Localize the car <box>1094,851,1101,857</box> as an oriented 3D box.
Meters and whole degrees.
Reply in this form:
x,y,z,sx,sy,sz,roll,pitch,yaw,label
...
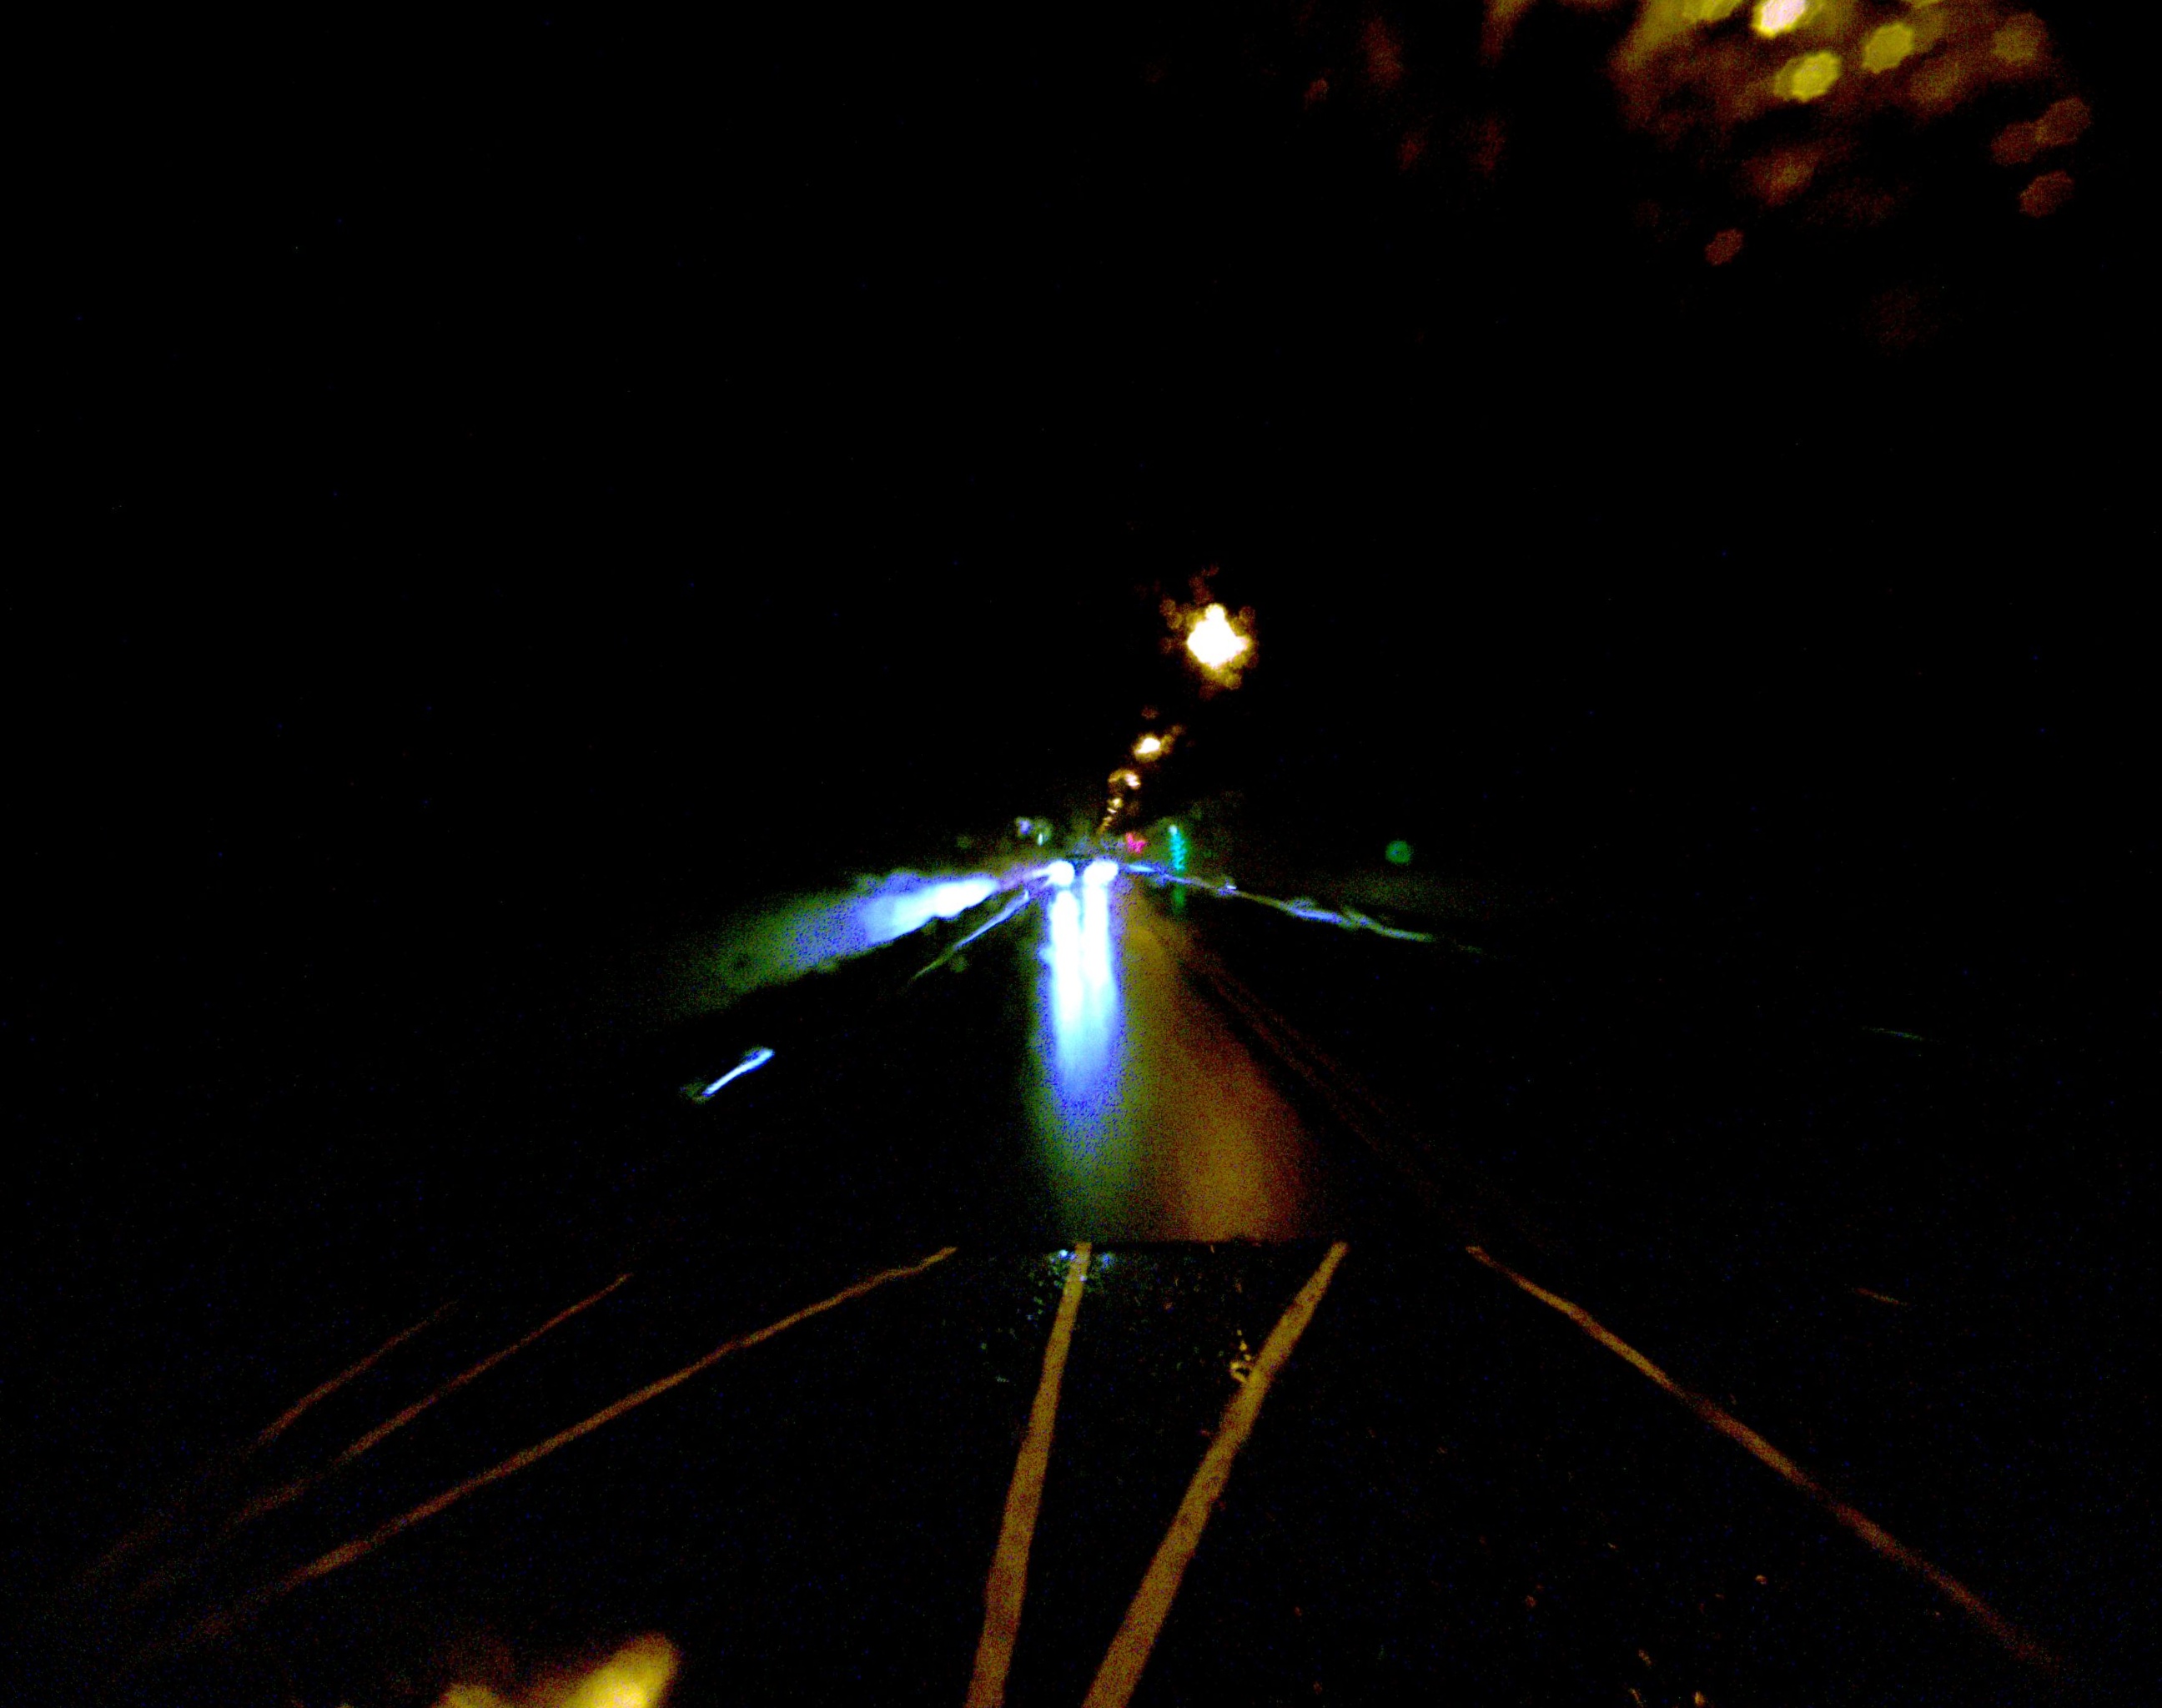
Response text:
x,y,z,sx,sy,sz,roll,pitch,yaw,label
4.629,-0.083,210.458,1.761,1.519,3.814,-3,0,1,car

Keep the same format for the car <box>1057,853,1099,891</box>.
x,y,z,sx,sy,sz,roll,pitch,yaw,label
-0.090,0.796,35.605,1.829,1.650,3.929,-1,0,1,car
